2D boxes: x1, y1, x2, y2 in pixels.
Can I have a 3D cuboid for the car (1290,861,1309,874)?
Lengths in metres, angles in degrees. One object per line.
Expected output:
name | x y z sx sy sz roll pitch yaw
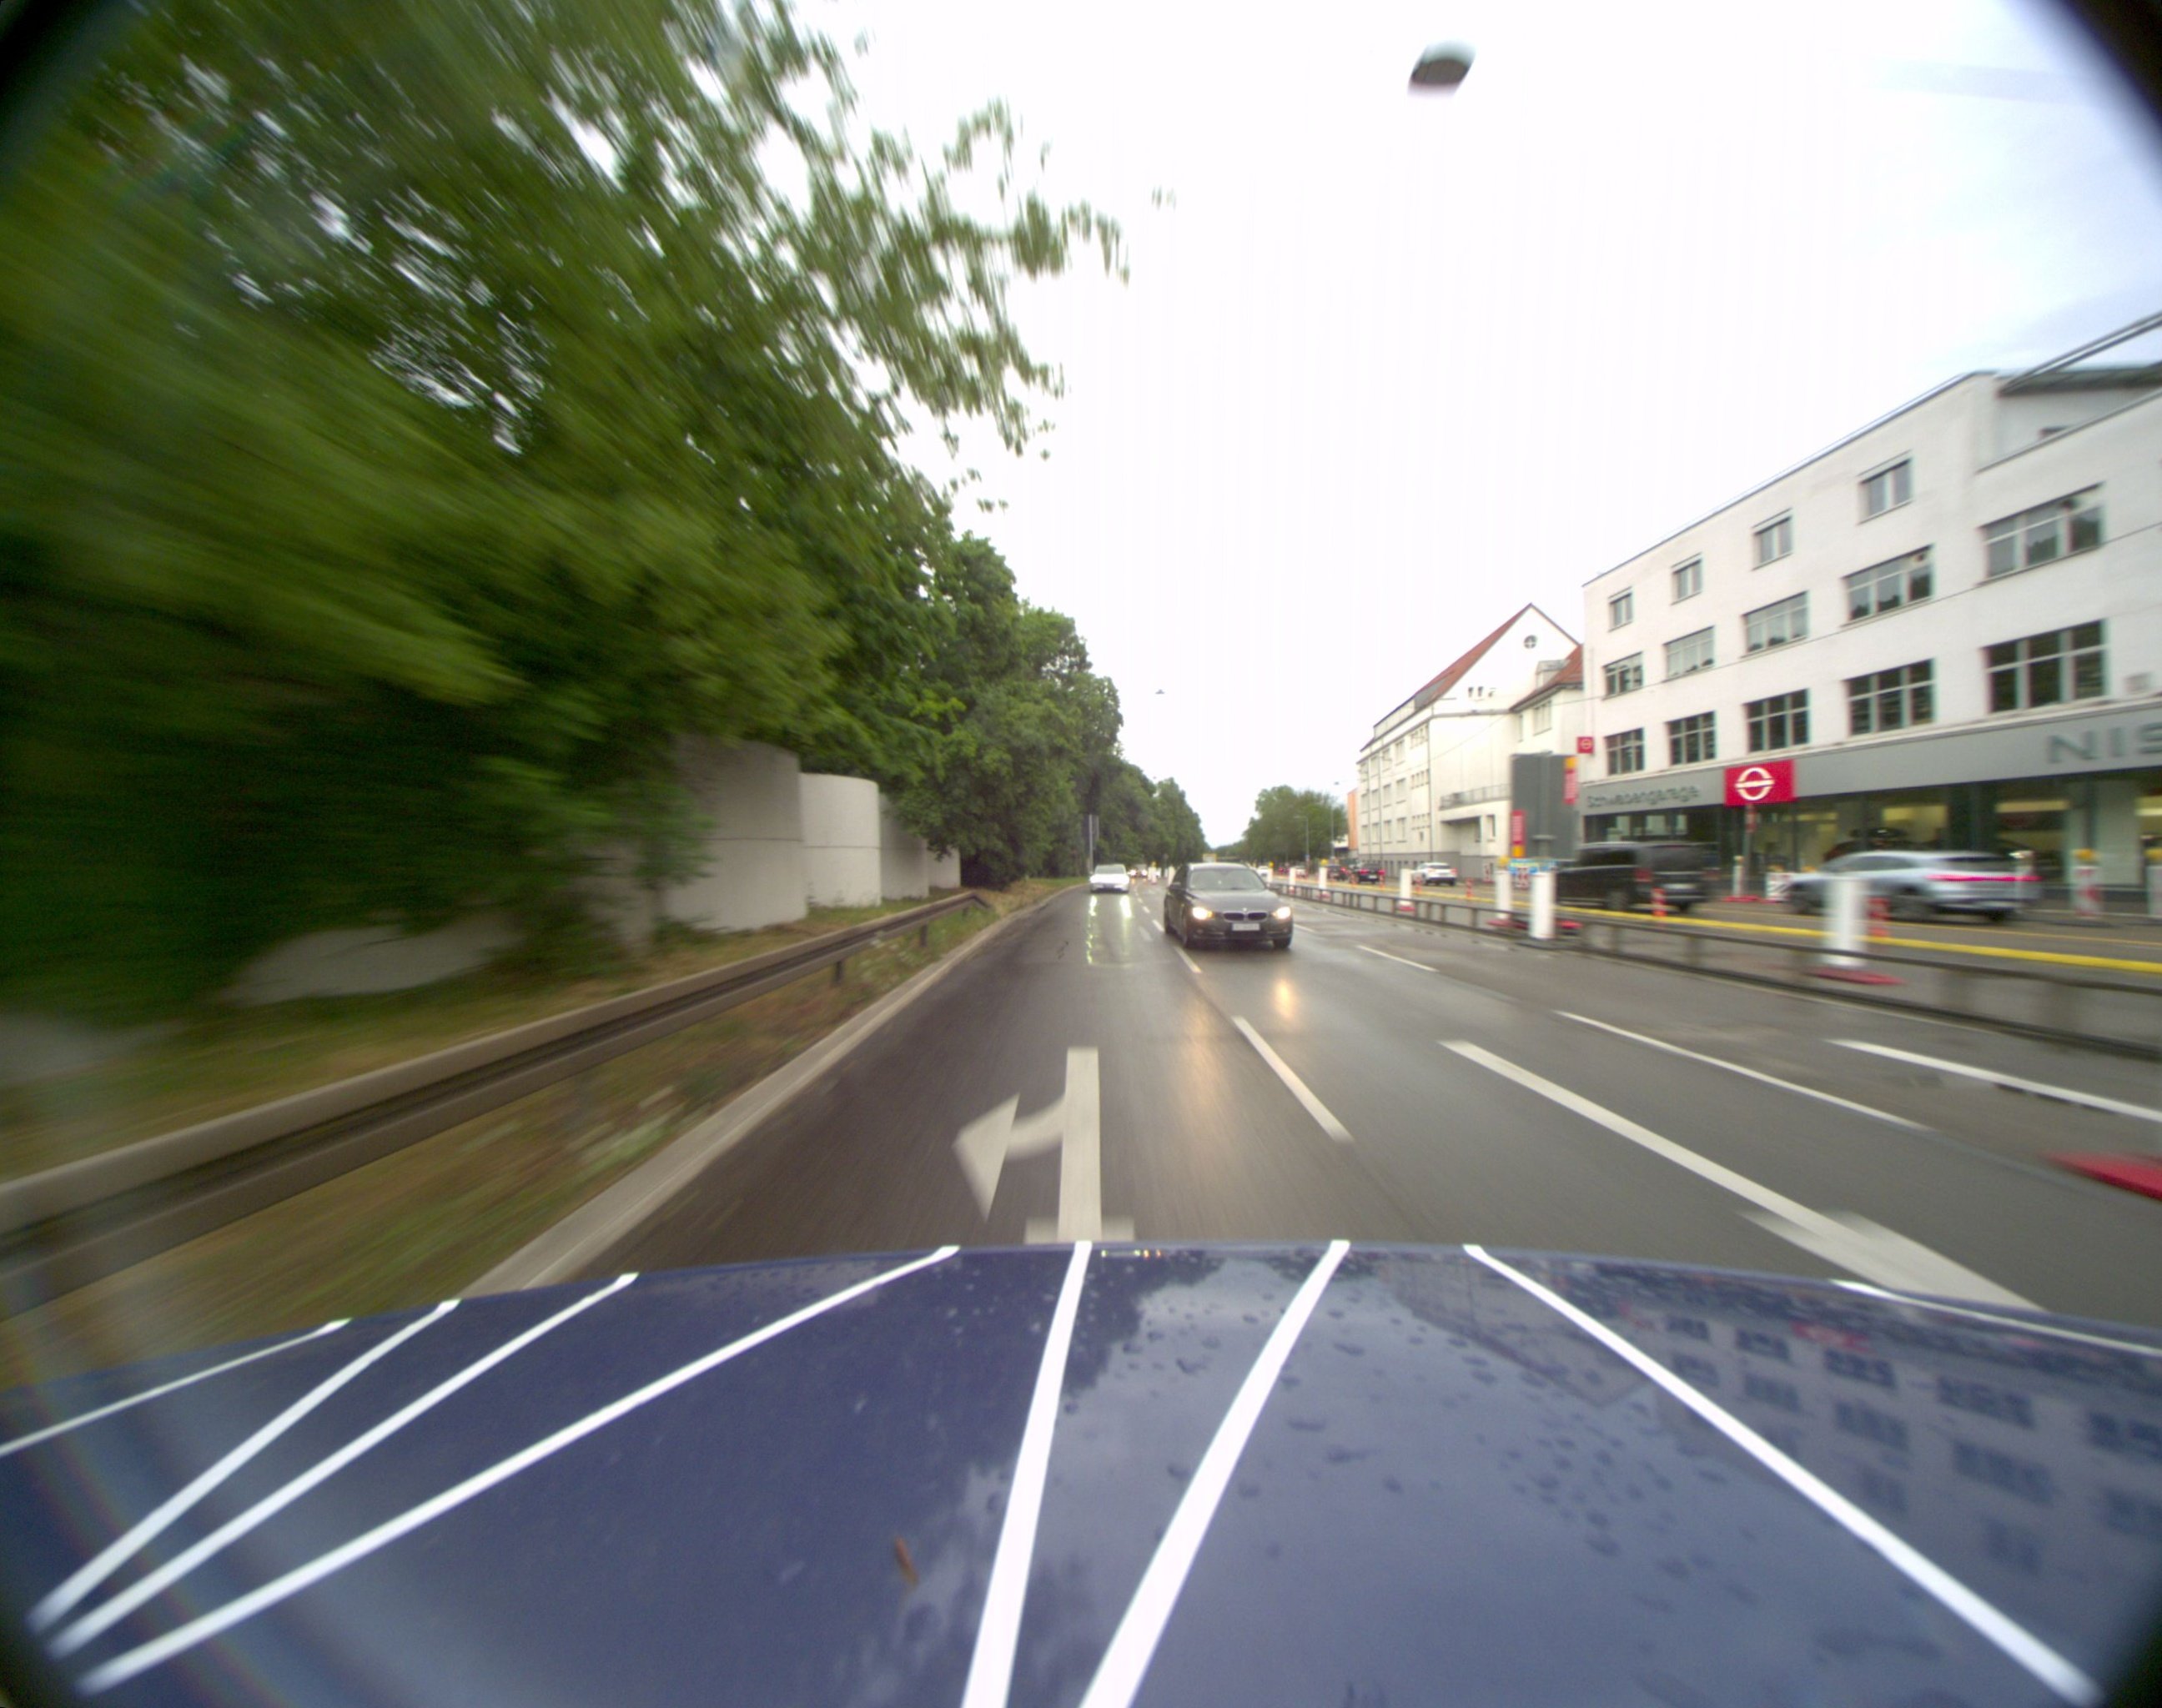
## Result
car | 26.603 1.623 92.572 1.704 1.455 4.120 1 0 8

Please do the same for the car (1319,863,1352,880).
car | 21.763 1.441 65.103 1.802 1.379 3.806 0 0 4

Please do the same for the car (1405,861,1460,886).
car | 22.728 1.249 49.267 1.787 1.499 4.524 0 0 5

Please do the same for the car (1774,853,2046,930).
car | 18.918 0.764 17.690 1.751 1.575 4.265 0 0 2

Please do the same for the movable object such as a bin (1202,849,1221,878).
movable object such as a bin | 13.105 0.959 76.437 1.825 2.895 3.610 0 -1 8

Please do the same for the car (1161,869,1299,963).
car | 2.580 1.026 14.110 1.764 1.441 4.178 -1 -1 0

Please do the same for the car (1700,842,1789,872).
car | 42.484 0.196 48.702 3.958 1.820 1.791 0 0 9

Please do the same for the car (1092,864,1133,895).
car | 1.541 1.232 38.409 1.840 1.424 4.273 0 0 0

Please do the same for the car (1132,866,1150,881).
car | 7.326 2.398 93.058 1.998 1.739 4.001 0 0 2

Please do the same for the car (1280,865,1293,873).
car | 39.181 2.858 145.228 1.997 1.575 4.214 0 -1 9

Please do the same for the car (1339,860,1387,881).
car | 19.466 1.136 52.605 1.802 1.343 4.813 0 0 4

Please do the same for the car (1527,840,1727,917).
car | 15.173 0.614 21.603 1.998 1.925 5.231 0 0 1

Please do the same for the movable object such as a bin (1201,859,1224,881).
movable object such as a bin | 12.381 1.496 71.698 1.997 2.099 3.852 0 -1 8

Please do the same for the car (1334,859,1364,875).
car | 25.340 1.231 71.951 1.737 1.405 3.710 0 0 5
